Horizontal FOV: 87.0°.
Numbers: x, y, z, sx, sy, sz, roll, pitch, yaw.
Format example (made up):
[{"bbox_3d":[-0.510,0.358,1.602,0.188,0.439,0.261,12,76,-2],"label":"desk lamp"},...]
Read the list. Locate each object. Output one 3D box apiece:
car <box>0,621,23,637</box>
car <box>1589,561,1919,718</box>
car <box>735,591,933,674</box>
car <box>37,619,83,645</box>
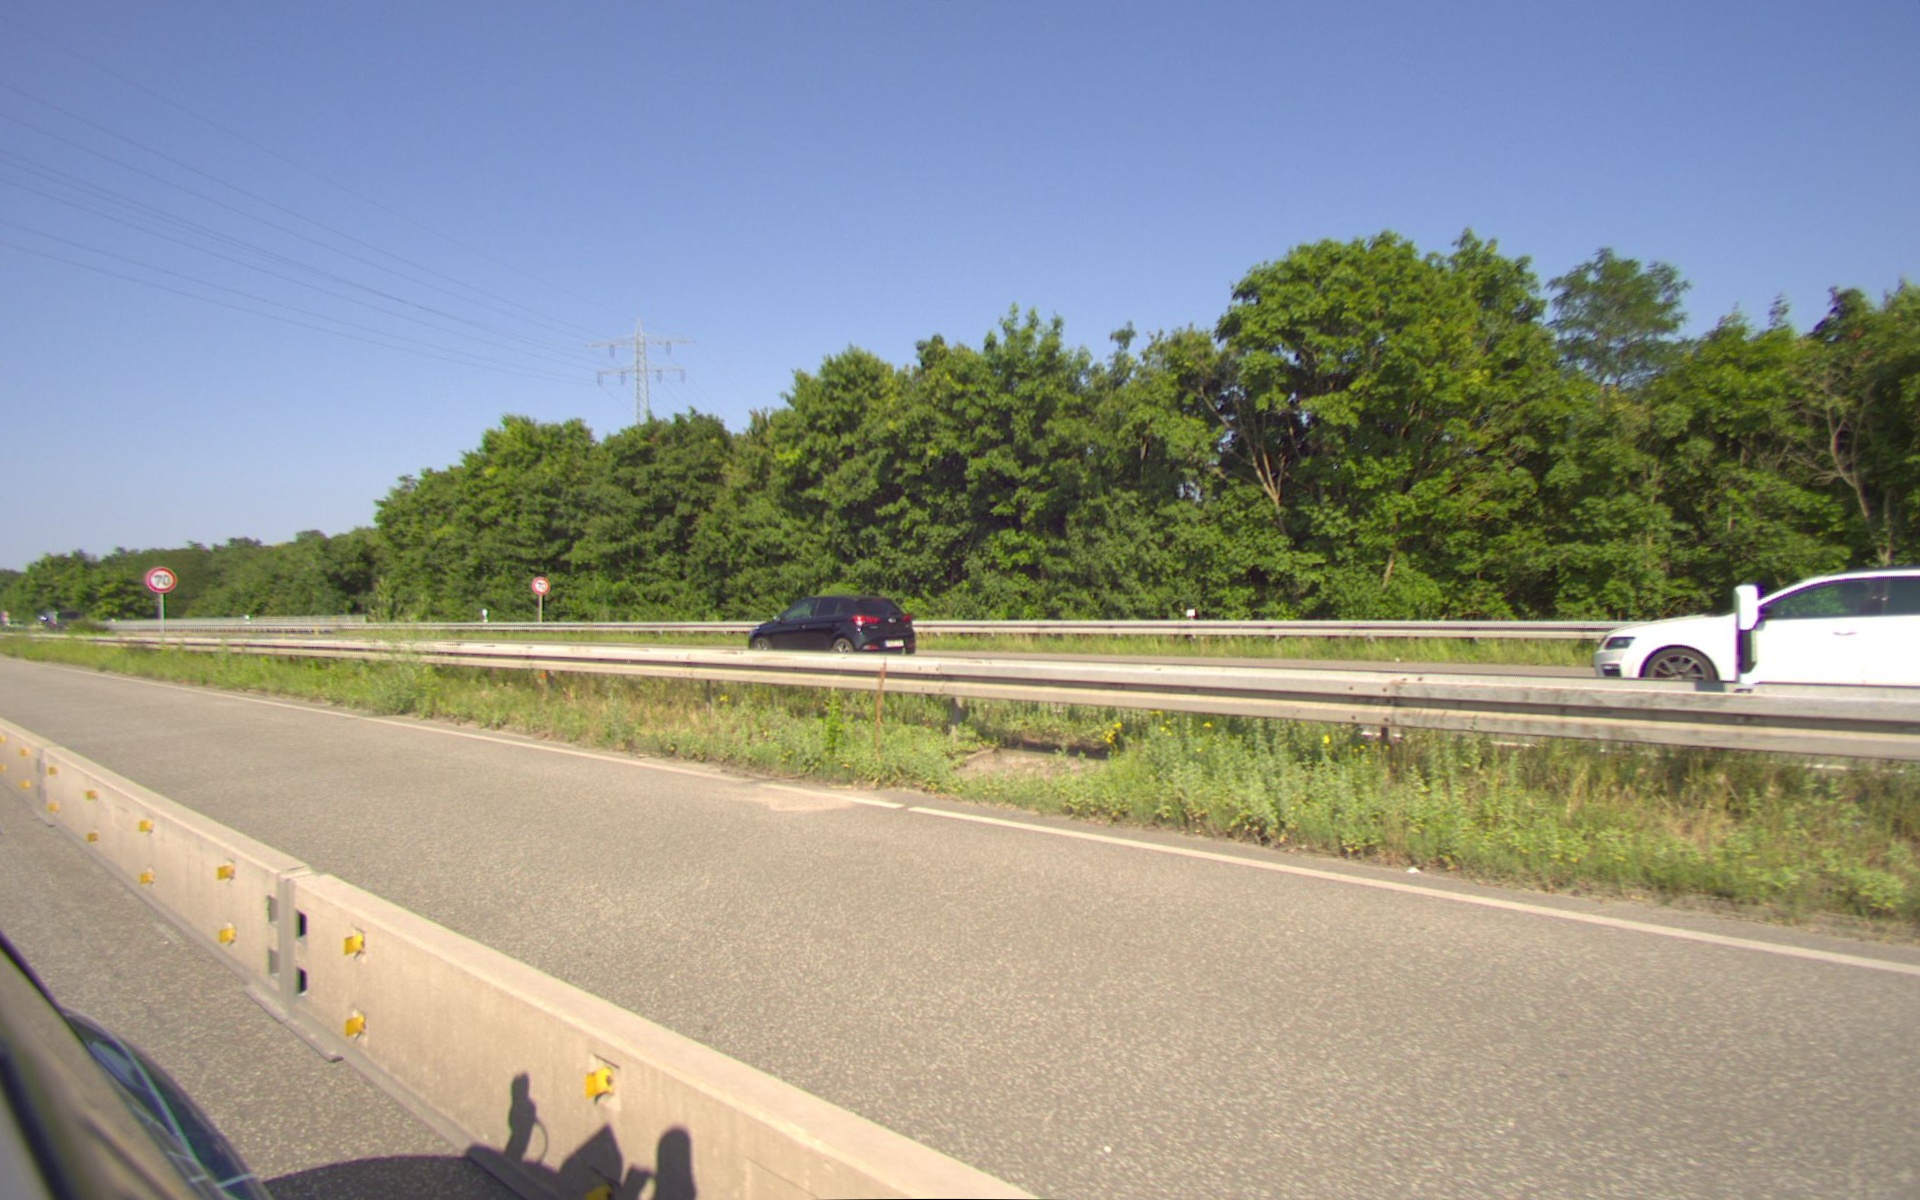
[{"bbox_3d":[-99.392,3.033,105.789,3.816,1.542,1.630,-2,-1,41],"label":"car"},{"bbox_3d":[9.448,0.359,10.464,4.791,1.481,1.742,-2,1,40],"label":"car"},{"bbox_3d":[-2.657,0.637,20.839,4.107,1.505,1.721,-1,0,41],"label":"car"},{"bbox_3d":[-73.511,2.609,82.629,5.162,2.050,1.974,-2,-1,39],"label":"car"}]
